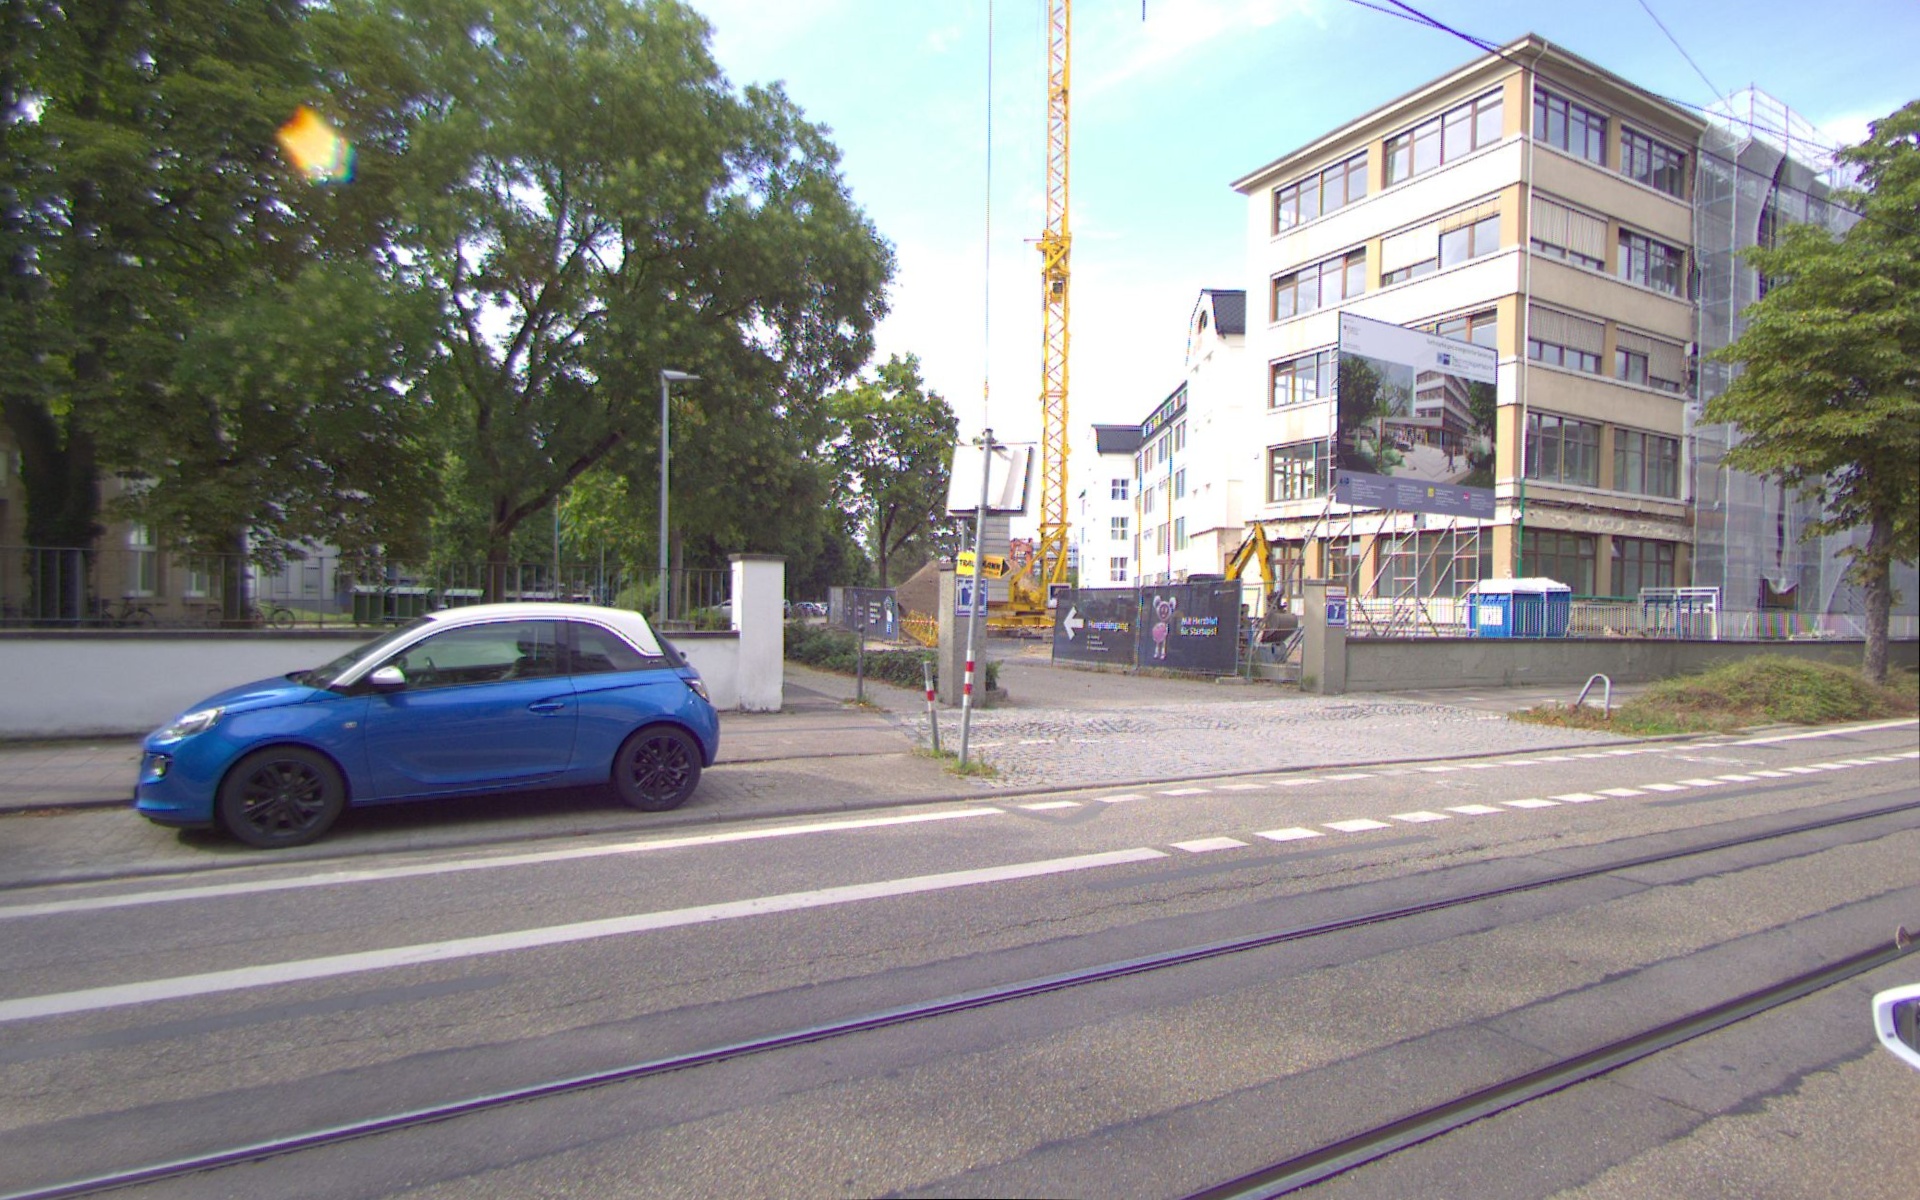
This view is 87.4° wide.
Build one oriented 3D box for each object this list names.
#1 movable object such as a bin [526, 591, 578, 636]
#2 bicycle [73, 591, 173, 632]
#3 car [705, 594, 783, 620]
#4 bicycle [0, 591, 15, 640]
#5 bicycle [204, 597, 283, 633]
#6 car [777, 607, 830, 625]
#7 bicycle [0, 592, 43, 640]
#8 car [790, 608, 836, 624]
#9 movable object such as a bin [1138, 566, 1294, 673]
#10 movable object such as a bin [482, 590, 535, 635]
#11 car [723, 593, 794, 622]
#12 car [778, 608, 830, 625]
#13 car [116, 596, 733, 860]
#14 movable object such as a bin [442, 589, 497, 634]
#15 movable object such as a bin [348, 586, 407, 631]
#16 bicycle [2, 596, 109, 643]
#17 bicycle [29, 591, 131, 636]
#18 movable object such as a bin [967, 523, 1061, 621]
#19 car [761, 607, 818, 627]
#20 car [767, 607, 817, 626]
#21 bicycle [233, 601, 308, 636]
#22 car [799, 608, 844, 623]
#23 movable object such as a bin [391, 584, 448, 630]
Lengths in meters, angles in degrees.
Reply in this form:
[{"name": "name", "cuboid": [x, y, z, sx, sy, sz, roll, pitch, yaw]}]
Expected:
[{"name": "movable object such as a bin", "cuboid": [-13.585, 0.453, 33.466, 1.259, 1.449, 1.122, 2, 0, -2]}, {"name": "bicycle", "cuboid": [-22.349, 0.321, 26.859, 1.953, 1.057, 0.590, 1, 1, -28]}, {"name": "car", "cuboid": [-13.830, 0.447, 64.597, 4.719, 1.508, 1.997, 2, 0, -8]}, {"name": "bicycle", "cuboid": [-21.834, 0.312, 21.814, 1.940, 1.057, 0.594, 1, 1, -4]}, {"name": "bicycle", "cuboid": [-22.083, 0.460, 30.995, 1.940, 1.057, 0.594, 1, 1, -4]}, {"name": "car", "cuboid": [-14.311, 1.474, 91.974, 4.719, 1.508, 1.997, 2, 0, -8]}, {"name": "bicycle", "cuboid": [-21.919, 0.346, 22.595, 1.940, 1.057, 0.594, 1, 1, -4]}, {"name": "car", "cuboid": [-15.509, 1.658, 105.871, 4.719, 1.508, 1.997, 2, 0, -8]}, {"name": "movable object such as a bin", "cuboid": [6.280, 0.477, 24.986, 2.459, 2.475, 3.048, 2, 0, -19]}, {"name": "movable object such as a bin", "cuboid": [-15.103, 0.418, 33.631, 1.259, 1.449, 1.122, 2, 0, -2]}, {"name": "car", "cuboid": [-15.181, 0.566, 75.888, 4.965, 1.979, 1.999, 2, 0, -4]}, {"name": "car", "cuboid": [-14.696, 1.539, 94.799, 4.719, 1.508, 1.997, 2, 0, -8]}, {"name": "car", "cuboid": [-3.639, 0.754, 7.303, 3.560, 1.484, 1.620, 1, 0, -30]}, {"name": "movable object such as a bin", "cuboid": [-16.441, 0.378, 33.704, 1.259, 1.449, 1.122, 2, 0, -2]}, {"name": "movable object such as a bin", "cuboid": [-19.377, 0.287, 33.441, 1.259, 1.449, 1.122, 2, 0, -2]}, {"name": "bicycle", "cuboid": [-21.862, 0.469, 24.296, 1.940, 1.057, 0.594, 1, 1, -4]}, {"name": "bicycle", "cuboid": [-21.947, 0.323, 25.076, 1.940, 1.057, 0.594, 1, 1, -4]}, {"name": "movable object such as a bin", "cuboid": [4.254, -1.872, 75.035, 3.781, 6.758, 10.988, 2, 0, 20]}, {"name": "car", "cuboid": [-14.538, 1.438, 85.988, 4.719, 1.508, 1.997, 2, 0, -8]}, {"name": "car", "cuboid": [-14.784, 1.467, 88.652, 4.268, 1.564, 1.751, 2, 0, -8]}, {"name": "bicycle", "cuboid": [-22.204, 0.589, 32.350, 1.940, 1.057, 0.594, 1, 1, -4]}, {"name": "car", "cuboid": [-15.026, 1.640, 108.884, 4.719, 1.508, 1.997, 2, 0, -8]}, {"name": "movable object such as a bin", "cuboid": [-18.014, 0.238, 33.505, 1.259, 1.449, 1.122, 2, 0, -2]}]
